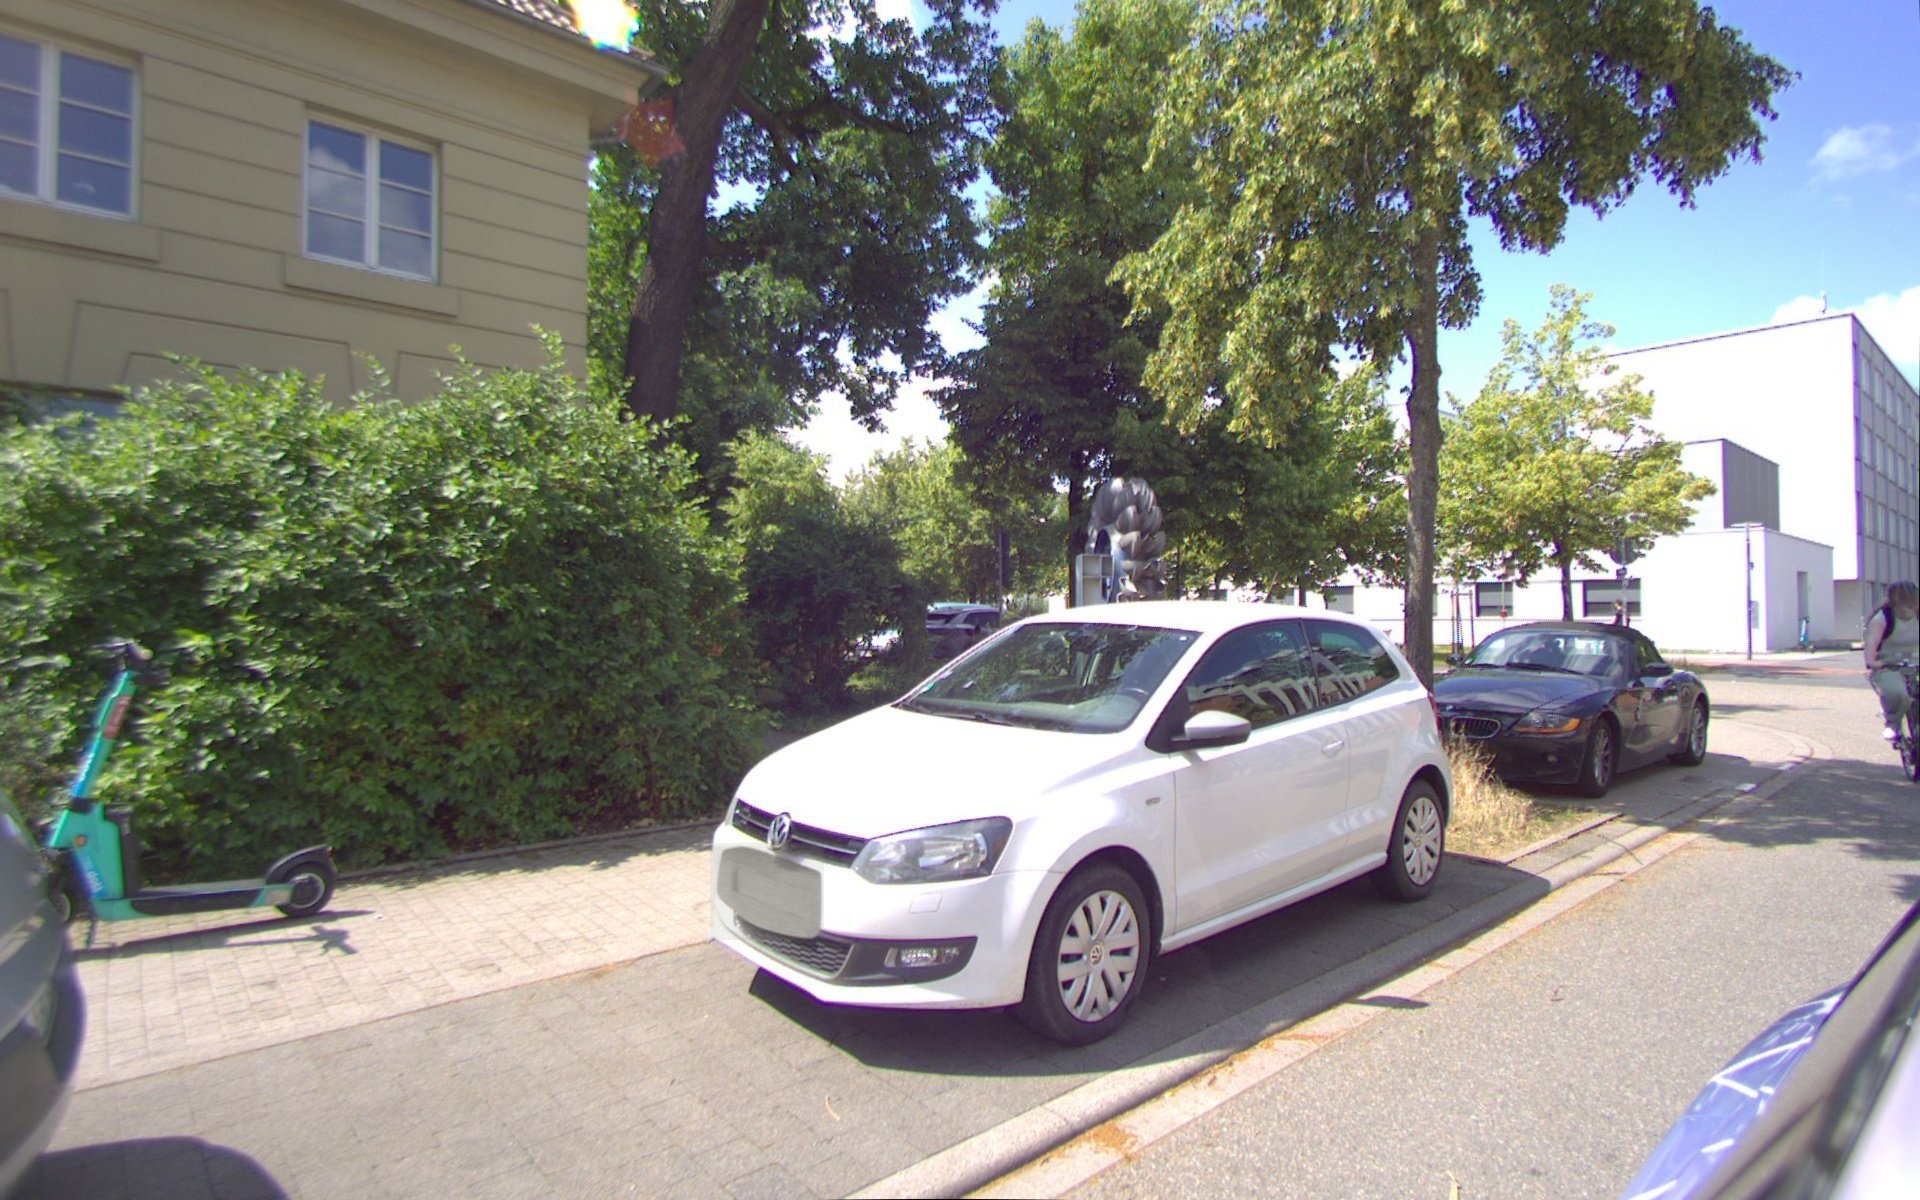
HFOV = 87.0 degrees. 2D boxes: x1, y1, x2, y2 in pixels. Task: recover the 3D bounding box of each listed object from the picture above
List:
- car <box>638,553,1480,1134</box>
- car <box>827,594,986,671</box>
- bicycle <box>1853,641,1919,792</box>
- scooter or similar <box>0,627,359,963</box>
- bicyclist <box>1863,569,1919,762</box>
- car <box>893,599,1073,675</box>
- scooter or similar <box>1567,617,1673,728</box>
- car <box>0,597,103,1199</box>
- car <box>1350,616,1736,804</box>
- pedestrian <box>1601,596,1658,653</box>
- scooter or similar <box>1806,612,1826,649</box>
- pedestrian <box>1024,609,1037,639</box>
[{"bbox_3d":[0.759,0.630,4.535,3.922,1.485,1.588,0,-1,-43],"label":"car"},{"bbox_3d":[-1.347,0.827,26.478,3.932,1.861,1.820,1,-2,-43],"label":"car"},{"bbox_3d":[7.964,0.912,8.333,2.099,1.086,0.674,1,-1,-42],"label":"bicycle"},{"bbox_3d":[-3.260,0.742,4.280,1.211,1.237,0.522,1,-1,-31],"label":"scooter or similar"},{"bbox_3d":[7.838,0.496,8.191,1.045,1.497,0.674,-1,0,-43],"label":"bicyclist"},{"bbox_3d":[0.629,0.893,24.567,4.288,1.673,1.891,2,-2,-43],"label":"car"},{"bbox_3d":[8.046,0.852,12.333,1.355,1.270,0.555,0,-1,-33],"label":"scooter or similar"},{"bbox_3d":[-3.365,0.663,0.865,3.921,1.408,1.648,2,-1,-43],"label":"car"},{"bbox_3d":[5.264,0.795,8.939,3.929,1.297,1.711,1,-1,-40],"label":"car"},{"bbox_3d":[22.228,0.799,33.602,1.000,1.823,1.174,2,0,-12],"label":"pedestrian"},{"bbox_3d":[29.420,1.043,34.781,1.054,1.252,0.326,1,-2,-38],"label":"scooter or similar"},{"bbox_3d":[4.001,1.379,57.466,0.713,1.678,0.715,0,-1,0],"label":"pedestrian"}]
